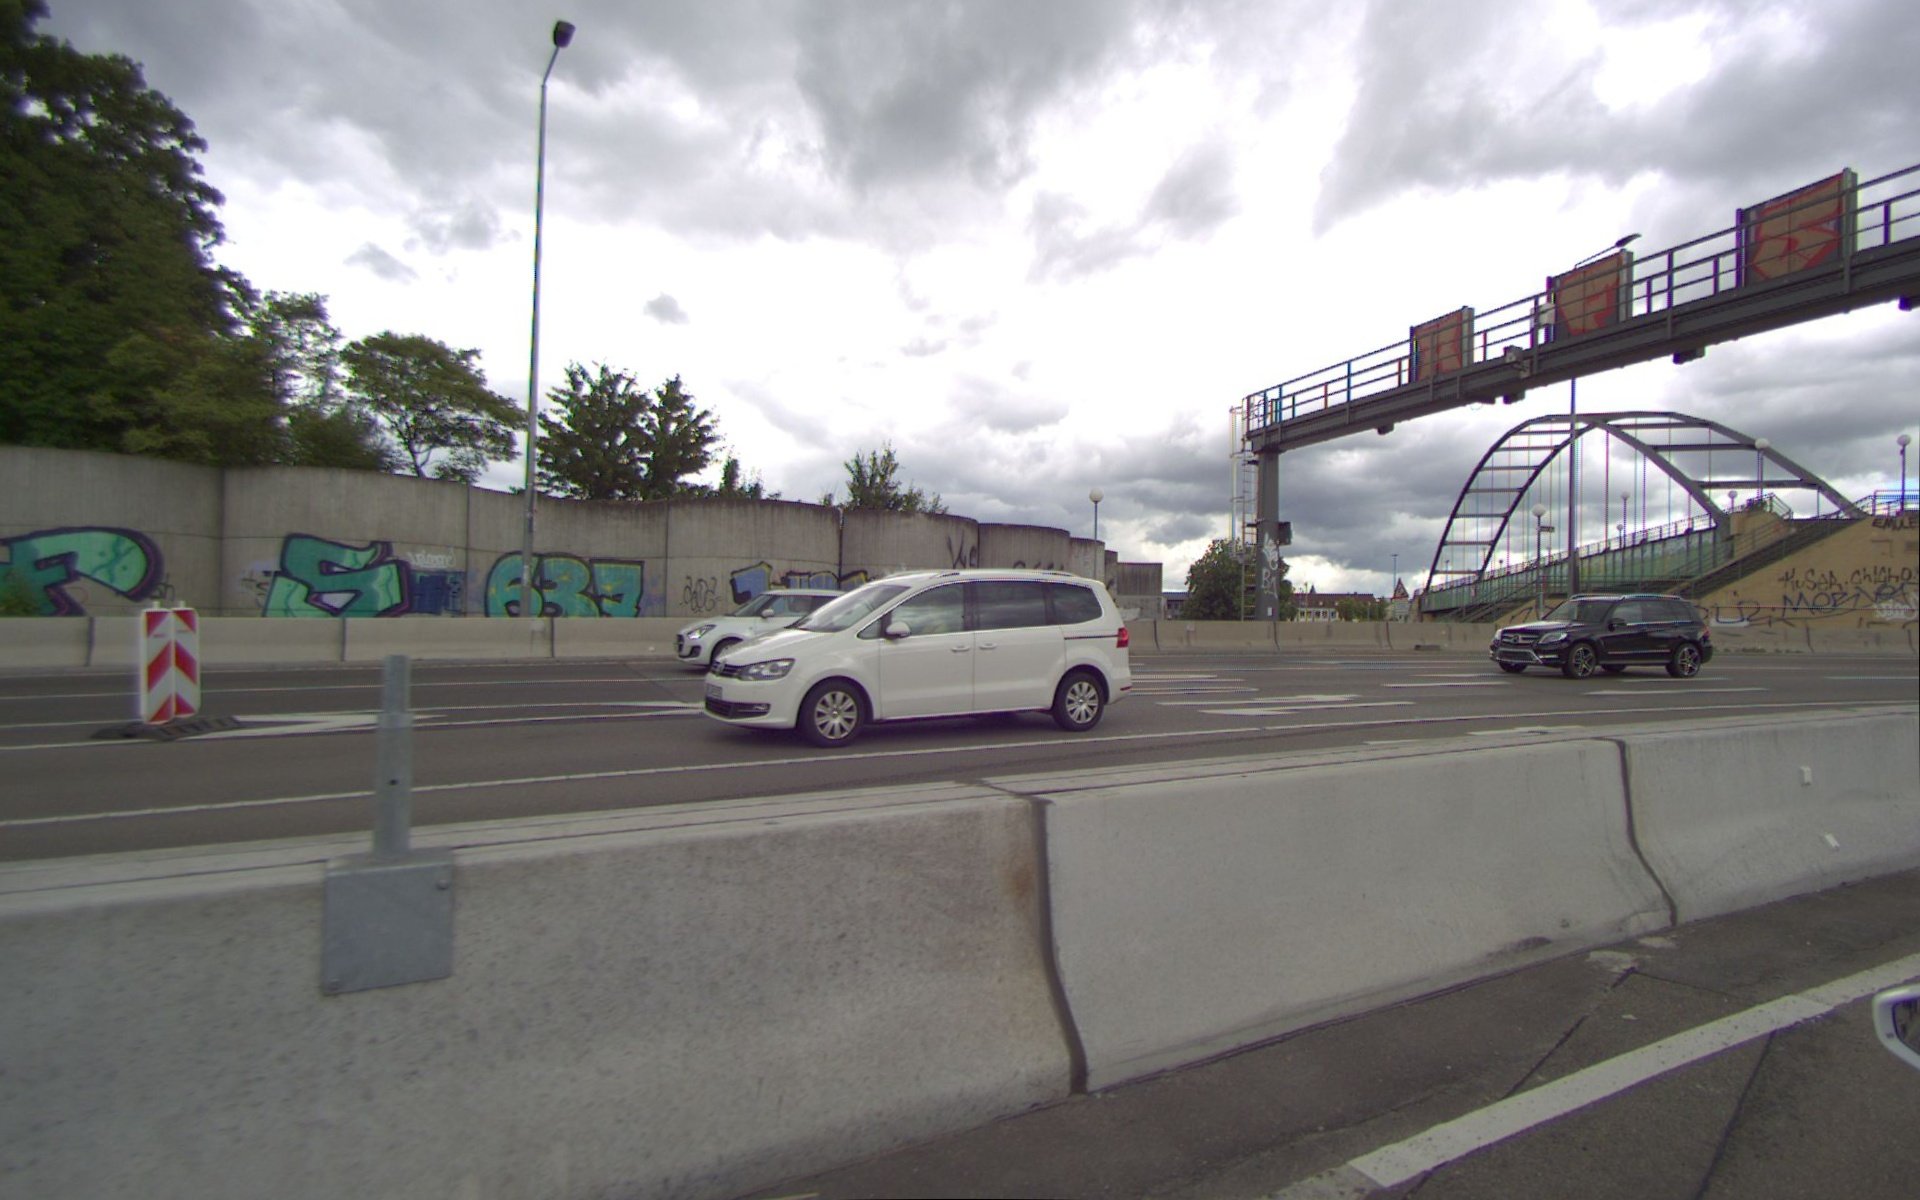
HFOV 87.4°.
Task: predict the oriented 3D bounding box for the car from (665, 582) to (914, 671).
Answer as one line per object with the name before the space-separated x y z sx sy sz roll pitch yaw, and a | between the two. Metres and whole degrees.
car | -3.062 0.485 18.247 4.096 1.453 1.751 2 -1 -31

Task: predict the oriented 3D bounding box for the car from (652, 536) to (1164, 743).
car | -0.424 0.406 10.809 5.215 1.773 1.940 2 -1 -32

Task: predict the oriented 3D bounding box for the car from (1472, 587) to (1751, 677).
car | 13.426 0.638 20.814 4.841 1.718 1.995 1 0 -12
